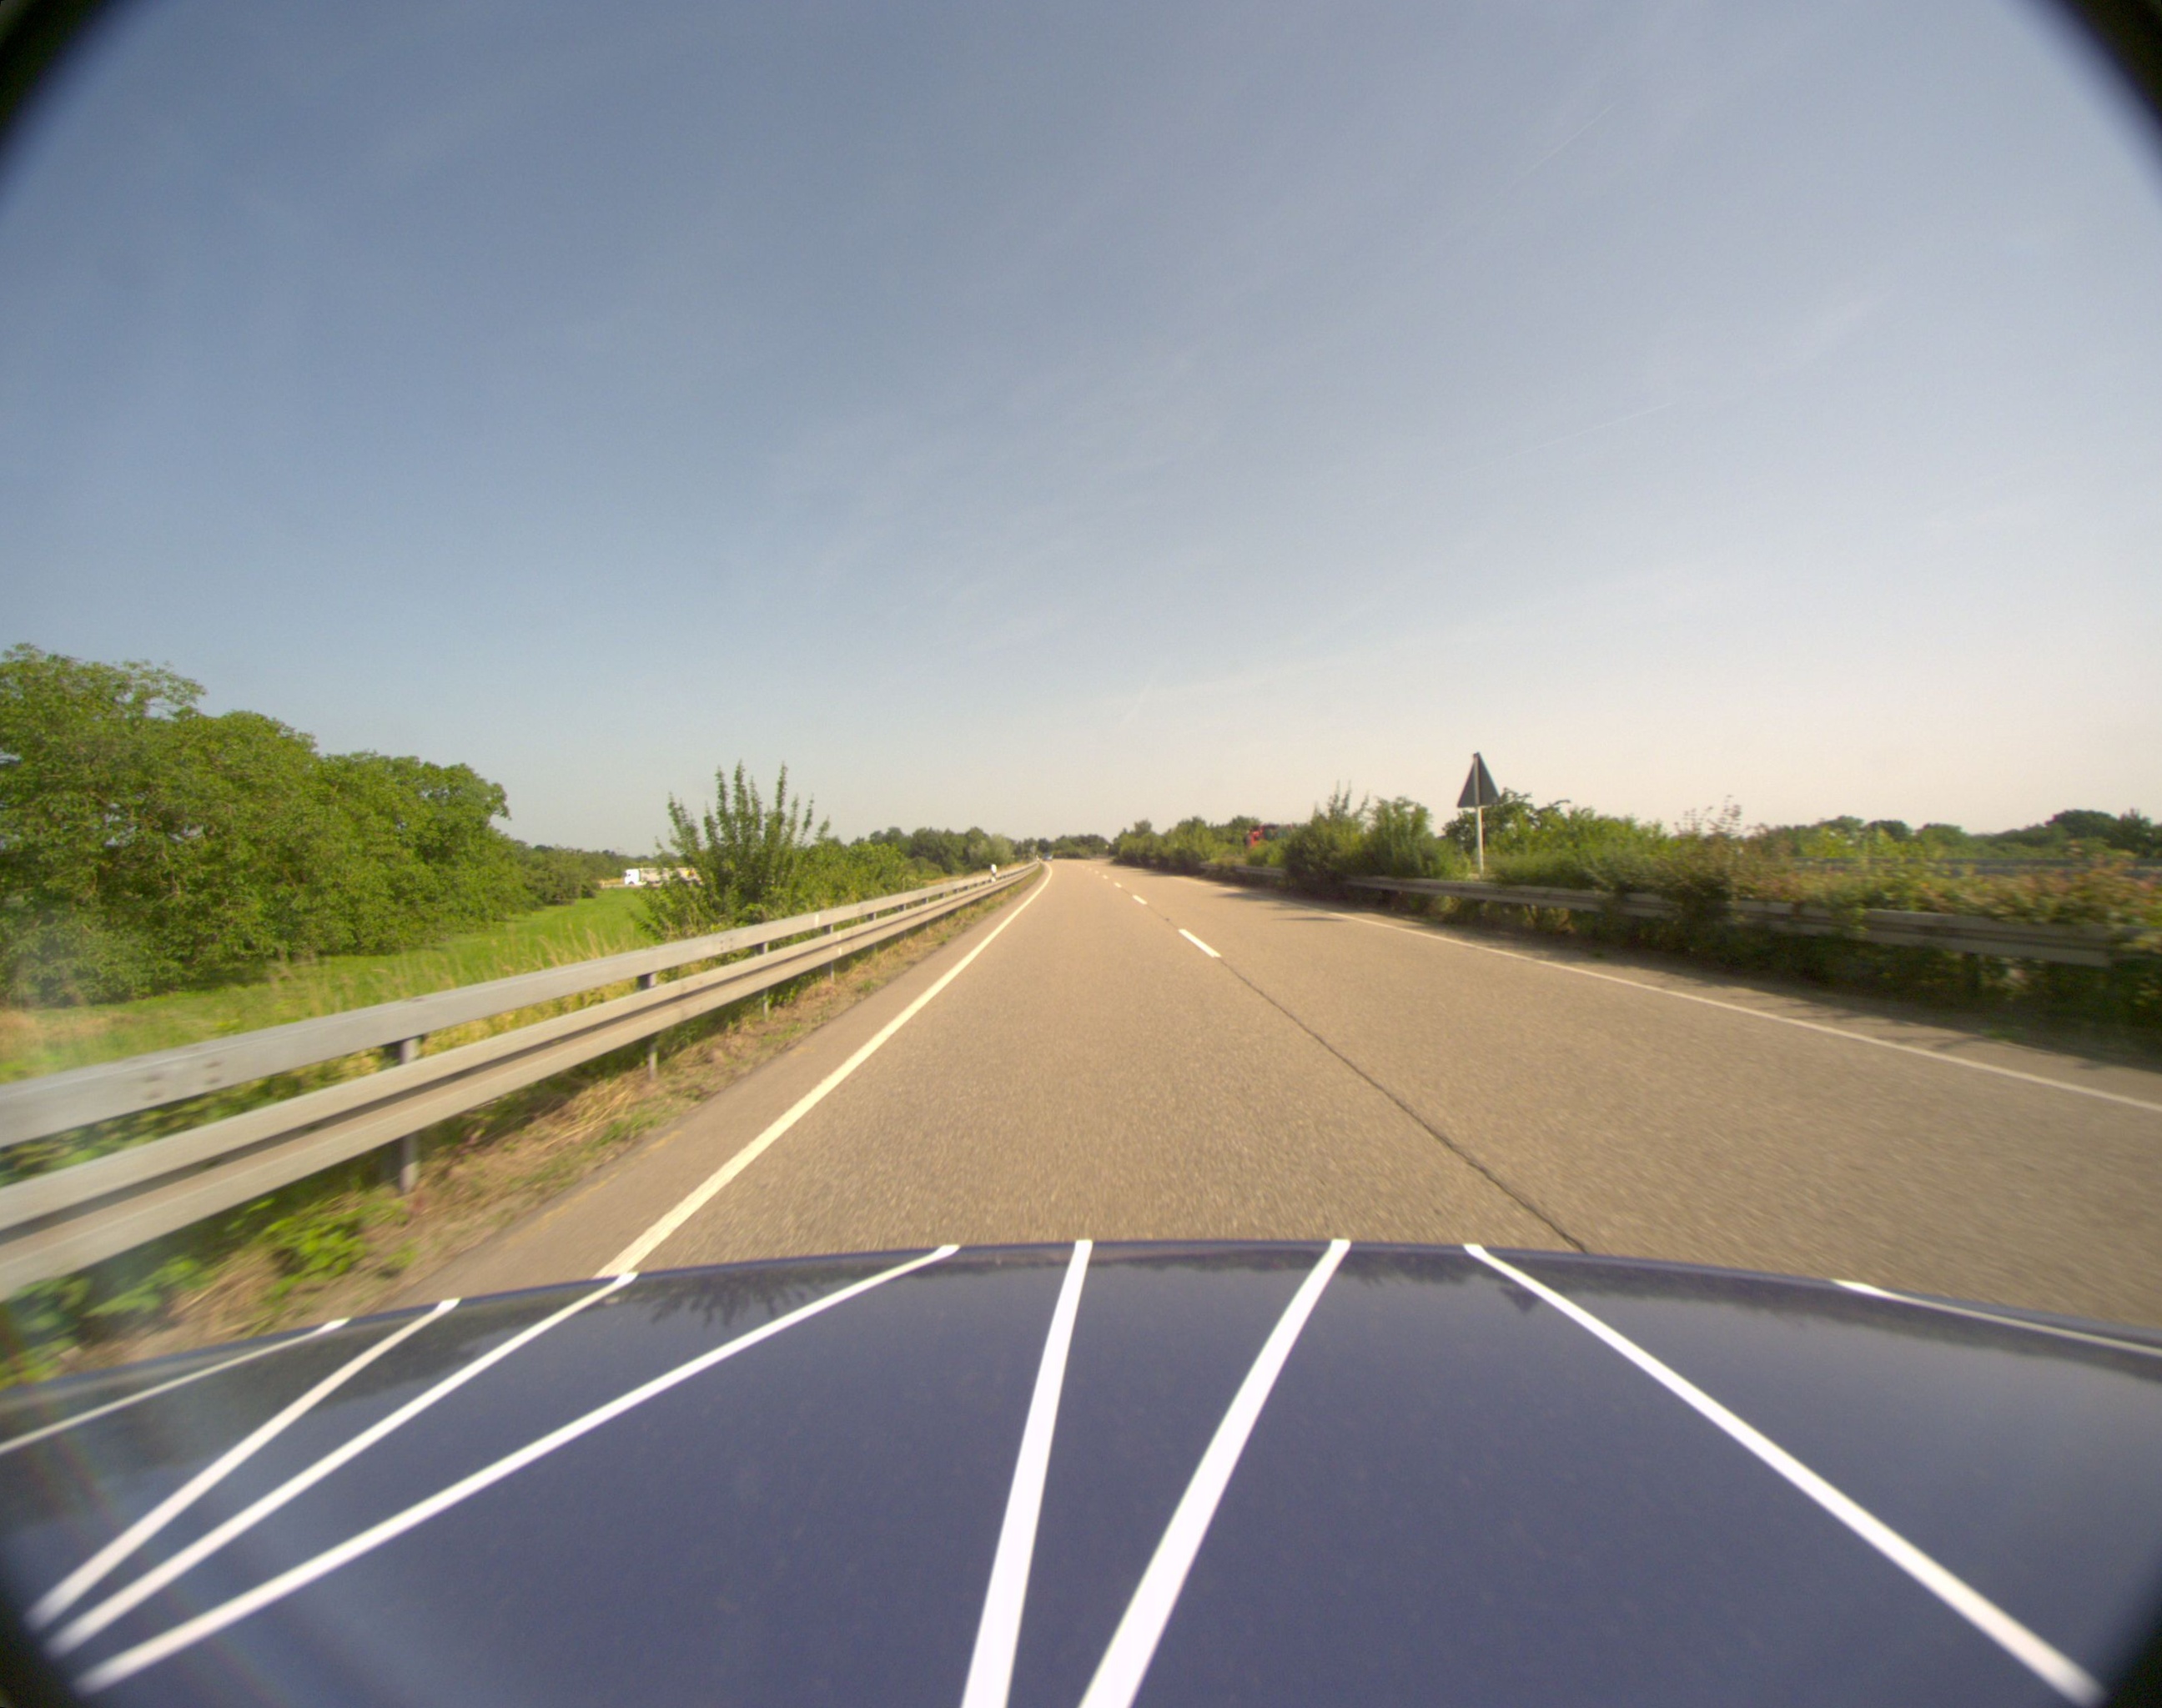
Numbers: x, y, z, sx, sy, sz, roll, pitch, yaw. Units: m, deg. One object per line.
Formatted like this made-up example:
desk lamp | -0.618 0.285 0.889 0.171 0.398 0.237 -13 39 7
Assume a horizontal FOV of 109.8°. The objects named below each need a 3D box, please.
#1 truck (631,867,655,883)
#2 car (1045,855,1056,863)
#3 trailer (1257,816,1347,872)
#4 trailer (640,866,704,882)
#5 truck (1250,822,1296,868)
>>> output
truck | -107.948 5.173 187.351 4.952 3.656 2.103 -1 0 -35
car | -6.115 0.954 153.622 1.704 1.474 3.598 -3 -1 -10
trailer | 15.069 -0.633 53.094 1.999 3.356 13.424 -2 0 -1
trailer | -102.766 5.057 191.067 13.955 3.631 2.103 -1 0 -36
truck | 14.915 -0.659 59.426 1.999 3.356 5.627 -2 0 -1
